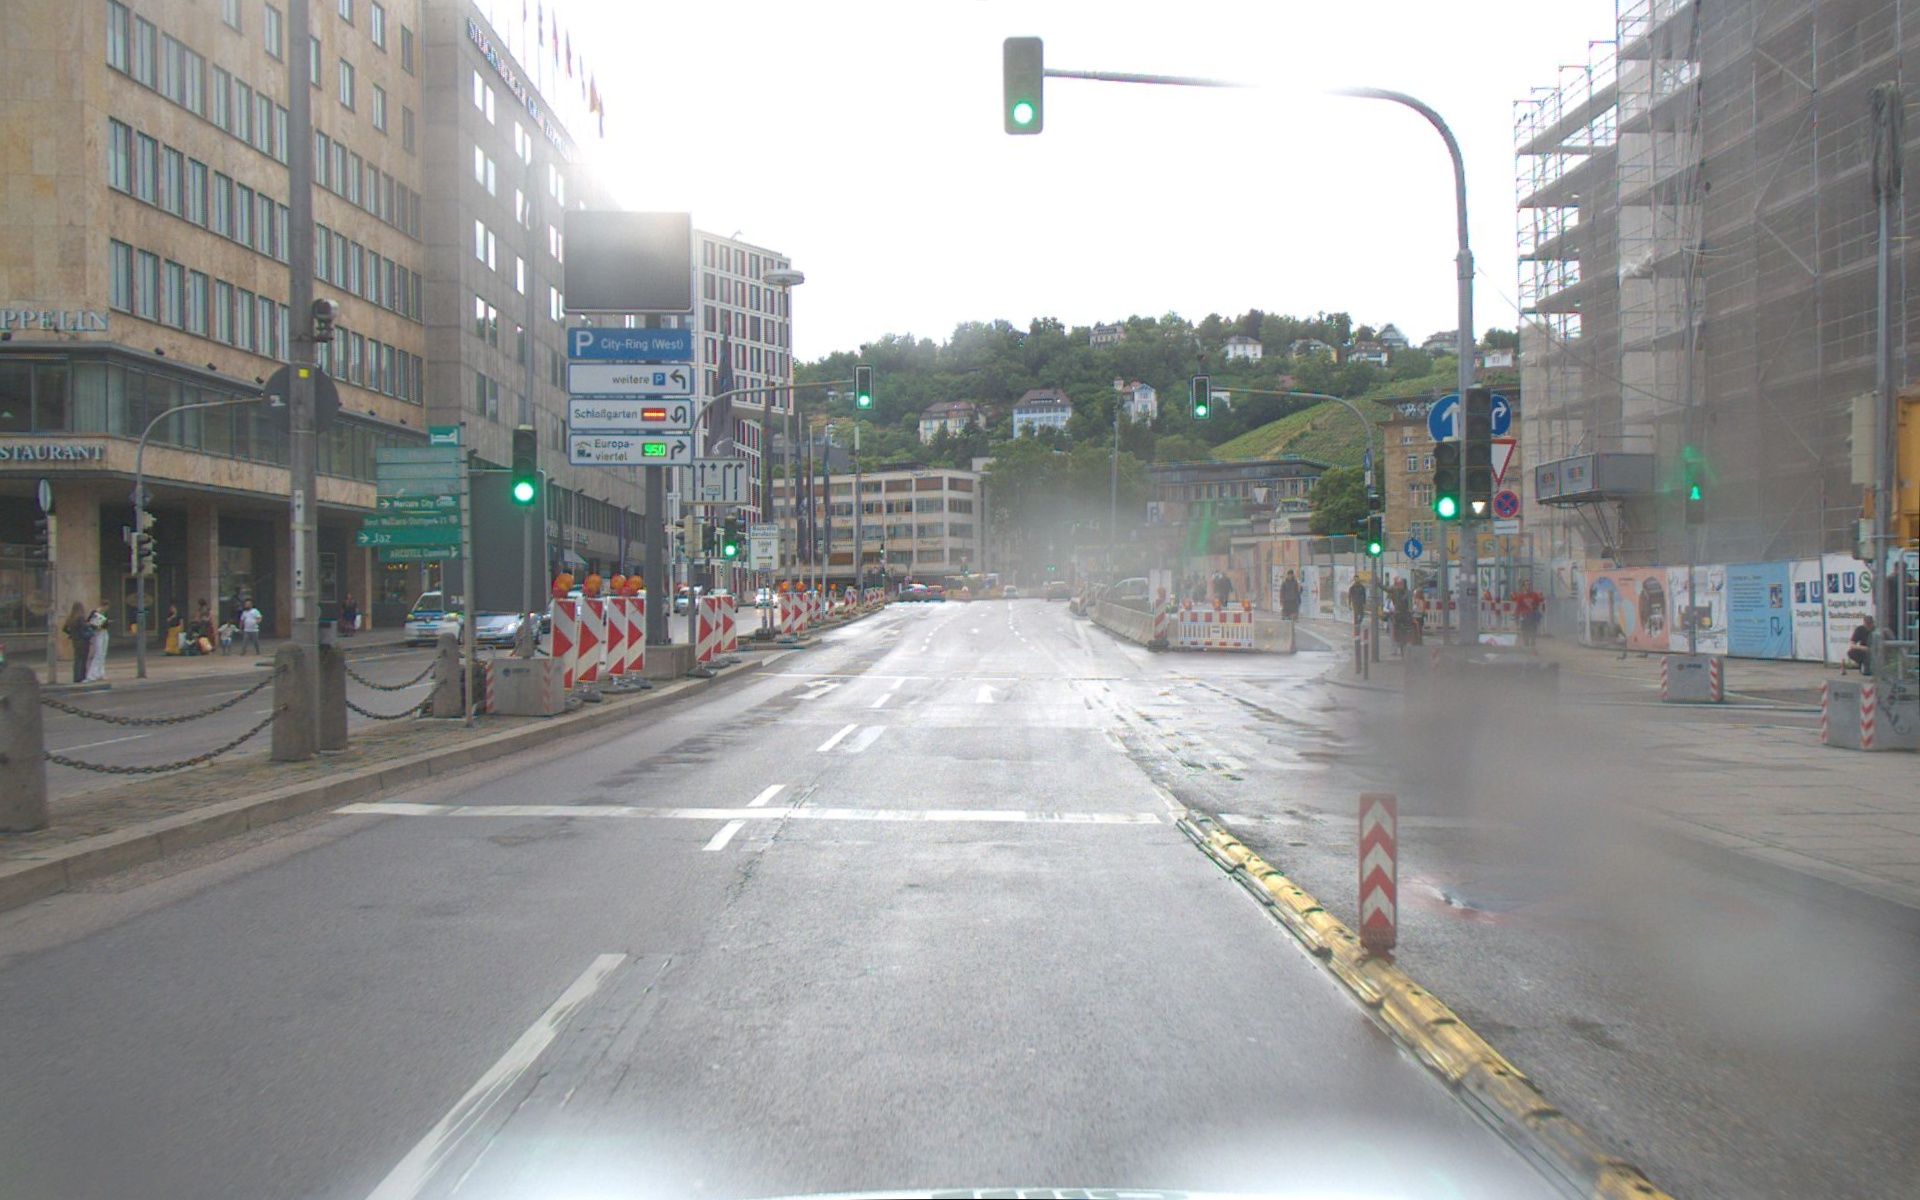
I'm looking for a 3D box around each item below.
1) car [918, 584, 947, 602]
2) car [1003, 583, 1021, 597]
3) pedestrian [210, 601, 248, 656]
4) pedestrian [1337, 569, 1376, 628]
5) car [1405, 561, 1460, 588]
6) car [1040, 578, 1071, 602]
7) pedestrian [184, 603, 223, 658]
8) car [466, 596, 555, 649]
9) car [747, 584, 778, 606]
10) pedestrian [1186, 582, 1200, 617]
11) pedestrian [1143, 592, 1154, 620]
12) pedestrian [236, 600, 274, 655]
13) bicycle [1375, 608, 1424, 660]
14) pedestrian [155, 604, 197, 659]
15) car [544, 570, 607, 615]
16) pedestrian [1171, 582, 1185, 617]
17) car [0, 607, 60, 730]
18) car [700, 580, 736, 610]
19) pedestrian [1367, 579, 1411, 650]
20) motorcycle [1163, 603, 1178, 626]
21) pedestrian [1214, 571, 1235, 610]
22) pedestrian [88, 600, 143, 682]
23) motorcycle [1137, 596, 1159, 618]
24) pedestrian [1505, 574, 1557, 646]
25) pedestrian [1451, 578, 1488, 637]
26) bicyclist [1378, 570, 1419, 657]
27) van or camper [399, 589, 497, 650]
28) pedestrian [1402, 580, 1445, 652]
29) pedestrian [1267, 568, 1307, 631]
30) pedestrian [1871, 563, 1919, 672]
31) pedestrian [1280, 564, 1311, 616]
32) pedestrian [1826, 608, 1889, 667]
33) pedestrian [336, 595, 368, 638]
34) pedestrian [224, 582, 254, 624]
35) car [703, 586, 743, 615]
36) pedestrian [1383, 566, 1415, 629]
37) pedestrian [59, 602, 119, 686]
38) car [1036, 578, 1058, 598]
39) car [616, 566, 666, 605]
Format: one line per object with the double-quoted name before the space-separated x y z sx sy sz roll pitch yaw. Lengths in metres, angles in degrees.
"car" -2.489 -0.631 148.178 1.958 1.579 3.989 -1 0 -11
"car" 5.731 -1.078 182.232 1.783 1.467 3.999 1 0 -2
"pedestrian" -21.498 0.825 48.655 0.706 1.584 0.905 -1 0 1
"pedestrian" 12.735 -0.049 53.157 0.852 1.873 0.944 -1 0 42
"car" 37.293 -2.010 130.519 3.902 2.049 2.002 -1 0 9
"car" 7.111 -0.758 123.913 1.953 1.736 3.999 -1 0 -2
"pedestrian" -22.288 0.886 48.722 0.706 1.584 0.895 -1 0 1
"car" -14.612 0.709 53.994 1.732 1.637 4.226 -1 0 0
"car" -15.673 -0.434 131.450 1.953 1.646 4.000 -2 0 0
"pedestrian" 12.680 -0.047 89.937 0.674 1.873 0.615 -1 0 4
"pedestrian" 12.632 0.395 111.114 0.674 1.873 0.615 -1 0 4
"pedestrian" -20.723 0.807 48.652 0.706 1.584 0.895 -1 0 1
"bicycle" 9.556 0.730 35.991 0.692 1.068 1.807 0 1 4
"pedestrian" -23.117 0.909 48.788 0.706 1.584 1.005 -1 0 1
"car" -18.036 -0.337 77.707 1.953 2.049 4.164 -1 0 0
"pedestrian" 11.877 -0.012 89.997 0.674 1.873 0.615 -1 0 4
"car" -13.855 0.943 21.376 1.953 1.645 4.575 -1 0 0
"car" -17.719 -0.355 121.155 1.953 2.049 4.000 -2 0 0
"pedestrian" 10.057 0.346 38.759 0.779 1.636 0.835 -1 0 28
"motorcycle" 6.787 0.461 53.332 0.363 0.734 0.922 1 0 2
"pedestrian" 12.702 -0.450 79.389 0.926 1.873 0.868 -1 0 6
"pedestrian" -17.856 0.862 34.979 0.742 1.702 0.698 -1 0 13
"motorcycle" 6.239 0.228 54.873 0.394 0.694 0.918 1 0 -16
"pedestrian" 13.200 0.228 38.233 0.754 1.636 0.860 -1 0 -15
"pedestrian" 14.924 0.225 48.460 0.846 1.690 0.797 -1 0 2
"bicyclist" 9.557 0.290 36.070 0.688 1.877 0.968 0 0 4
"van or camper" -18.068 0.660 58.601 1.953 2.049 4.964 -1 0 -1
"pedestrian" 10.722 0.359 38.259 0.779 1.636 0.834 -1 0 28
"pedestrian" 9.978 -0.010 50.454 0.928 1.873 0.945 -1 0 30
"pedestrian" 14.903 0.274 26.179 0.690 1.702 0.797 -1 0 20
"pedestrian" 12.444 -0.363 61.341 0.927 1.873 0.867 -1 0 -4
"pedestrian" 14.994 0.631 27.645 0.778 0.957 0.718 -1 0 18
"pedestrian" -22.377 0.589 60.874 0.778 1.553 0.916 -1 0 1
"pedestrian" -26.898 0.120 61.716 0.778 1.553 0.716 -1 0 1
"car" -15.140 0.015 105.846 1.953 1.780 4.000 -1 0 0
"pedestrian" 13.246 -0.074 49.914 0.846 1.873 0.798 -1 0 9
"pedestrian" -17.990 0.907 34.154 0.815 1.702 0.704 -1 0 13
"car" 7.645 -1.073 145.759 1.739 1.668 4.000 -1 0 1
"car" -17.525 -0.790 91.012 1.953 2.049 4.000 -1 0 0
